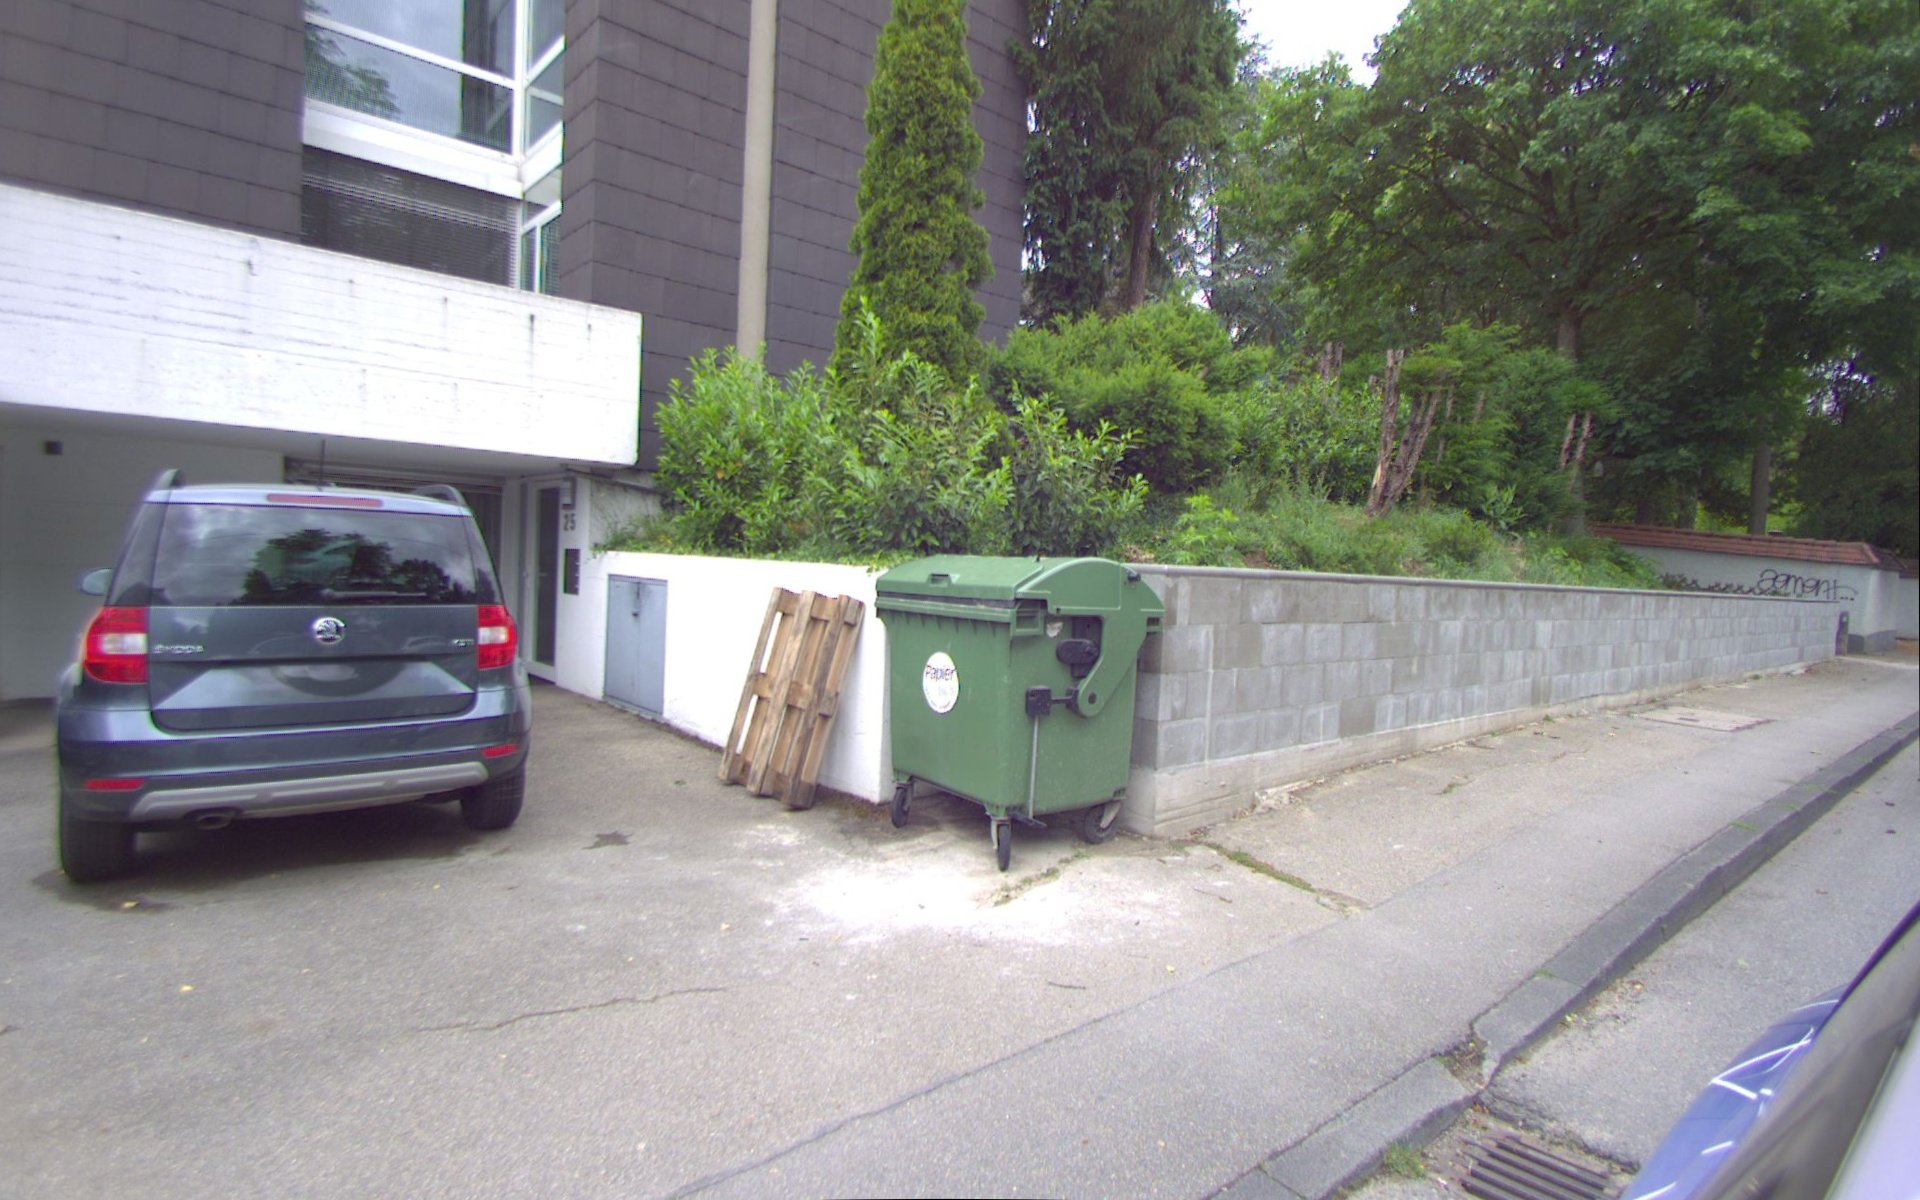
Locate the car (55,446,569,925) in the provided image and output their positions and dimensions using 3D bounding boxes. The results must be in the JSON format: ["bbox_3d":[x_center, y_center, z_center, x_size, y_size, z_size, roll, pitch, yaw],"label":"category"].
[{"bbox_3d":[-3.606,0.182,5.604,1.712,1.671,3.914,0,3,-36],"label":"car"}]

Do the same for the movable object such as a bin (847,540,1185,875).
[{"bbox_3d":[0.259,0.436,5.324,1.096,1.469,1.407,0,3,-40],"label":"movable object such as a bin"}]
